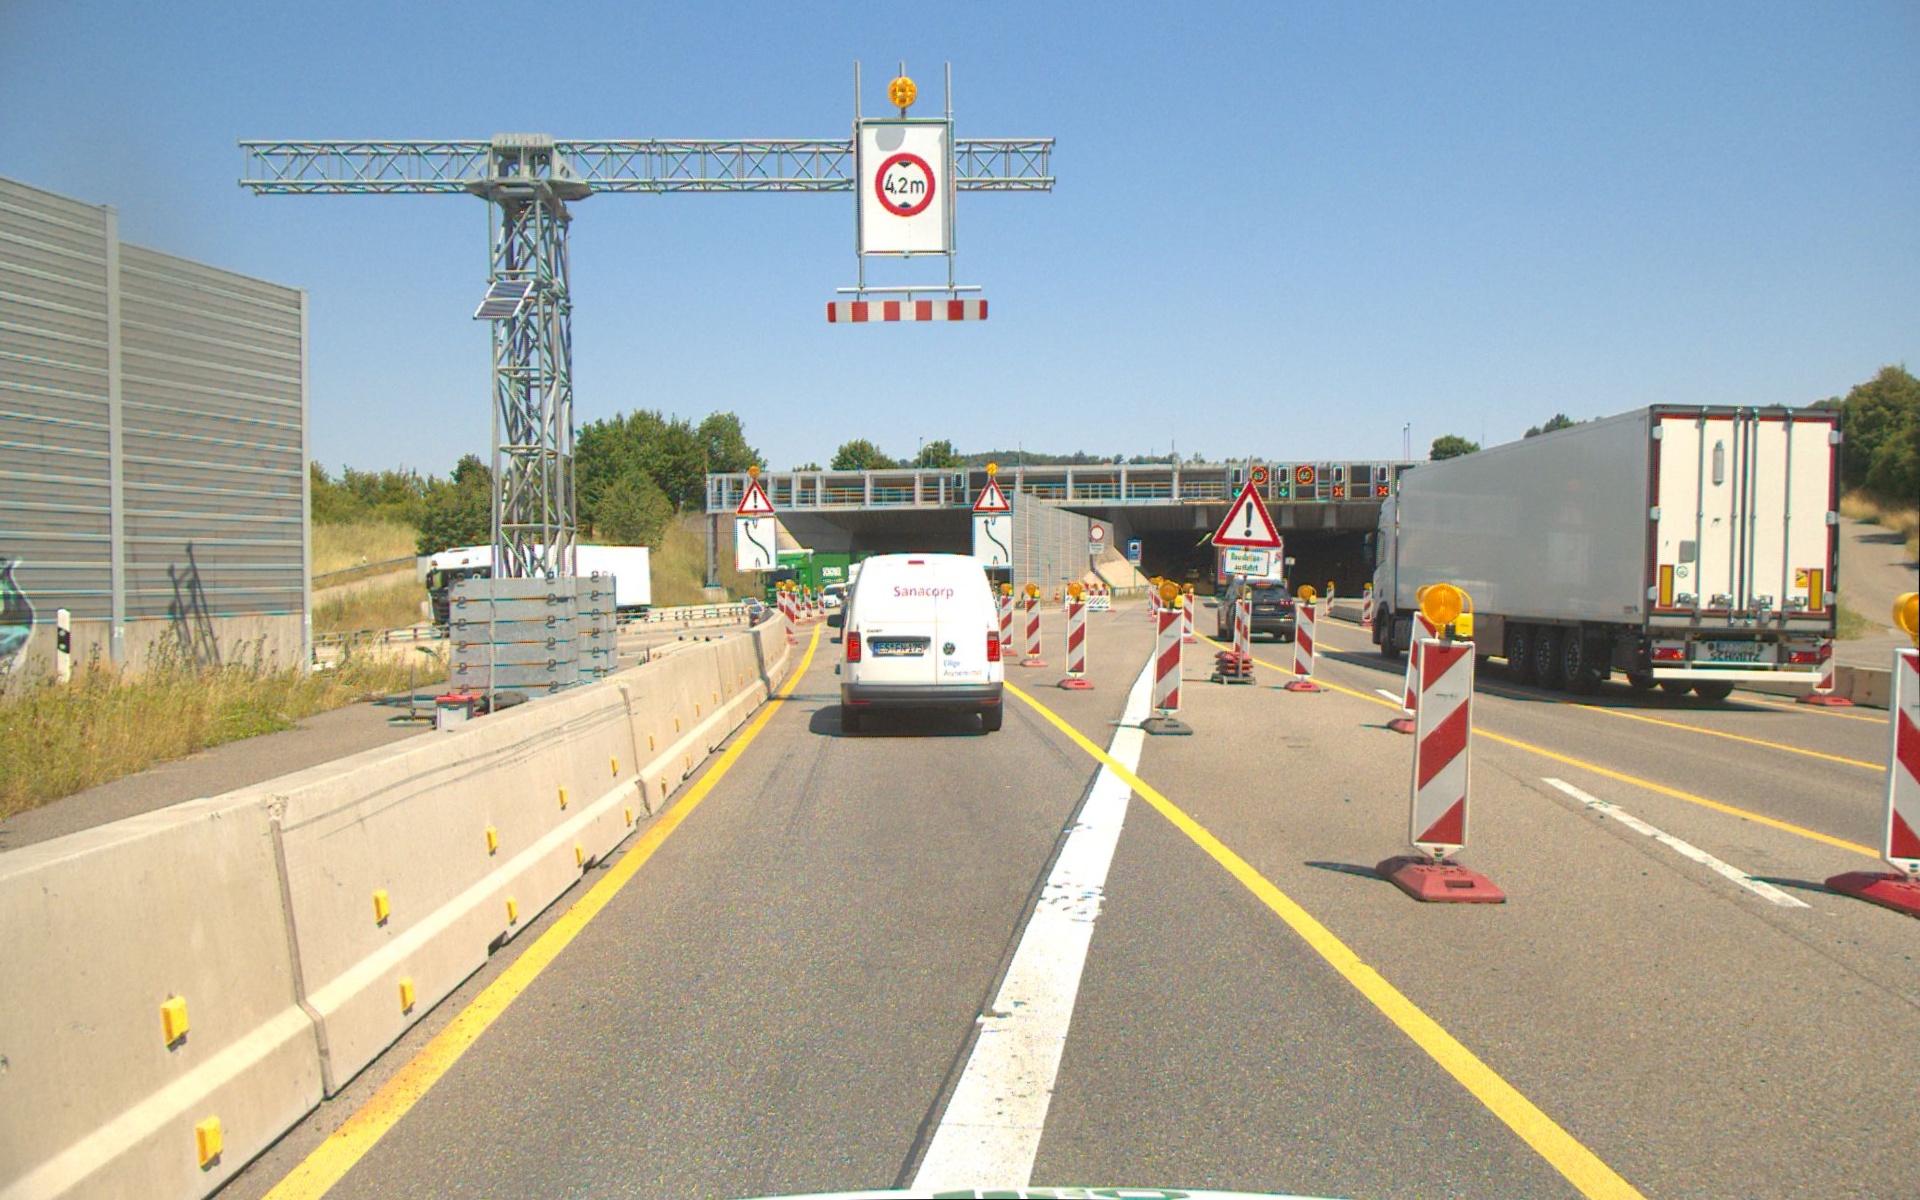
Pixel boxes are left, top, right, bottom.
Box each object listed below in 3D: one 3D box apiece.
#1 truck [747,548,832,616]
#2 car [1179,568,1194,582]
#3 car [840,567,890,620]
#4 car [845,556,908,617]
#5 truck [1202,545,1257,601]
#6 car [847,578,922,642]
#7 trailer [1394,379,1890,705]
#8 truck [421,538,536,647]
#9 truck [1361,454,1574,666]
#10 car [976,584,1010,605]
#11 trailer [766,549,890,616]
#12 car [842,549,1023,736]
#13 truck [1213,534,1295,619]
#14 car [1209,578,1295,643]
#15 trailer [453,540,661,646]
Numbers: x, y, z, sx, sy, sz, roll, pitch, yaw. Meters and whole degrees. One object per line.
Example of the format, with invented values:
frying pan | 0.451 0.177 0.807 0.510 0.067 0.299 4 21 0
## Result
truck | -11.181 -1.150 109.096 3.472 4.345 5.781 0 0 18
car | 29.342 -3.221 214.080 1.776 1.658 4.193 1 0 6
car | -3.513 -0.249 61.630 1.772 1.846 4.407 -1 0 -3
car | -4.065 -0.621 81.775 2.756 2.822 7.100 1 0 0
truck | 21.679 -2.075 133.894 3.330 4.142 16.547 1 0 6
car | -2.044 0.249 43.798 1.773 1.564 4.405 -1 0 -5
trailer | 10.578 -0.778 28.217 2.676 4.133 14.095 1 0 0
truck | -20.955 -0.352 72.256 2.608 4.578 4.846 1 0 16
truck | 10.616 -0.792 35.225 2.688 4.104 5.926 1 0 0
car | 2.601 -0.451 129.354 1.679 1.652 4.173 -1 0 15
trailer | -9.010 -1.172 115.632 3.472 4.345 13.914 0 0 18
car | -0.371 0.410 18.369 1.772 1.825 3.729 -1 0 -3
truck | 16.732 -1.155 95.230 3.330 4.411 16.546 1 0 6
car | 7.860 0.256 44.816 1.777 1.658 4.192 1 0 3
trailer | -18.905 -0.376 79.401 2.608 4.578 14.940 1 1 16
